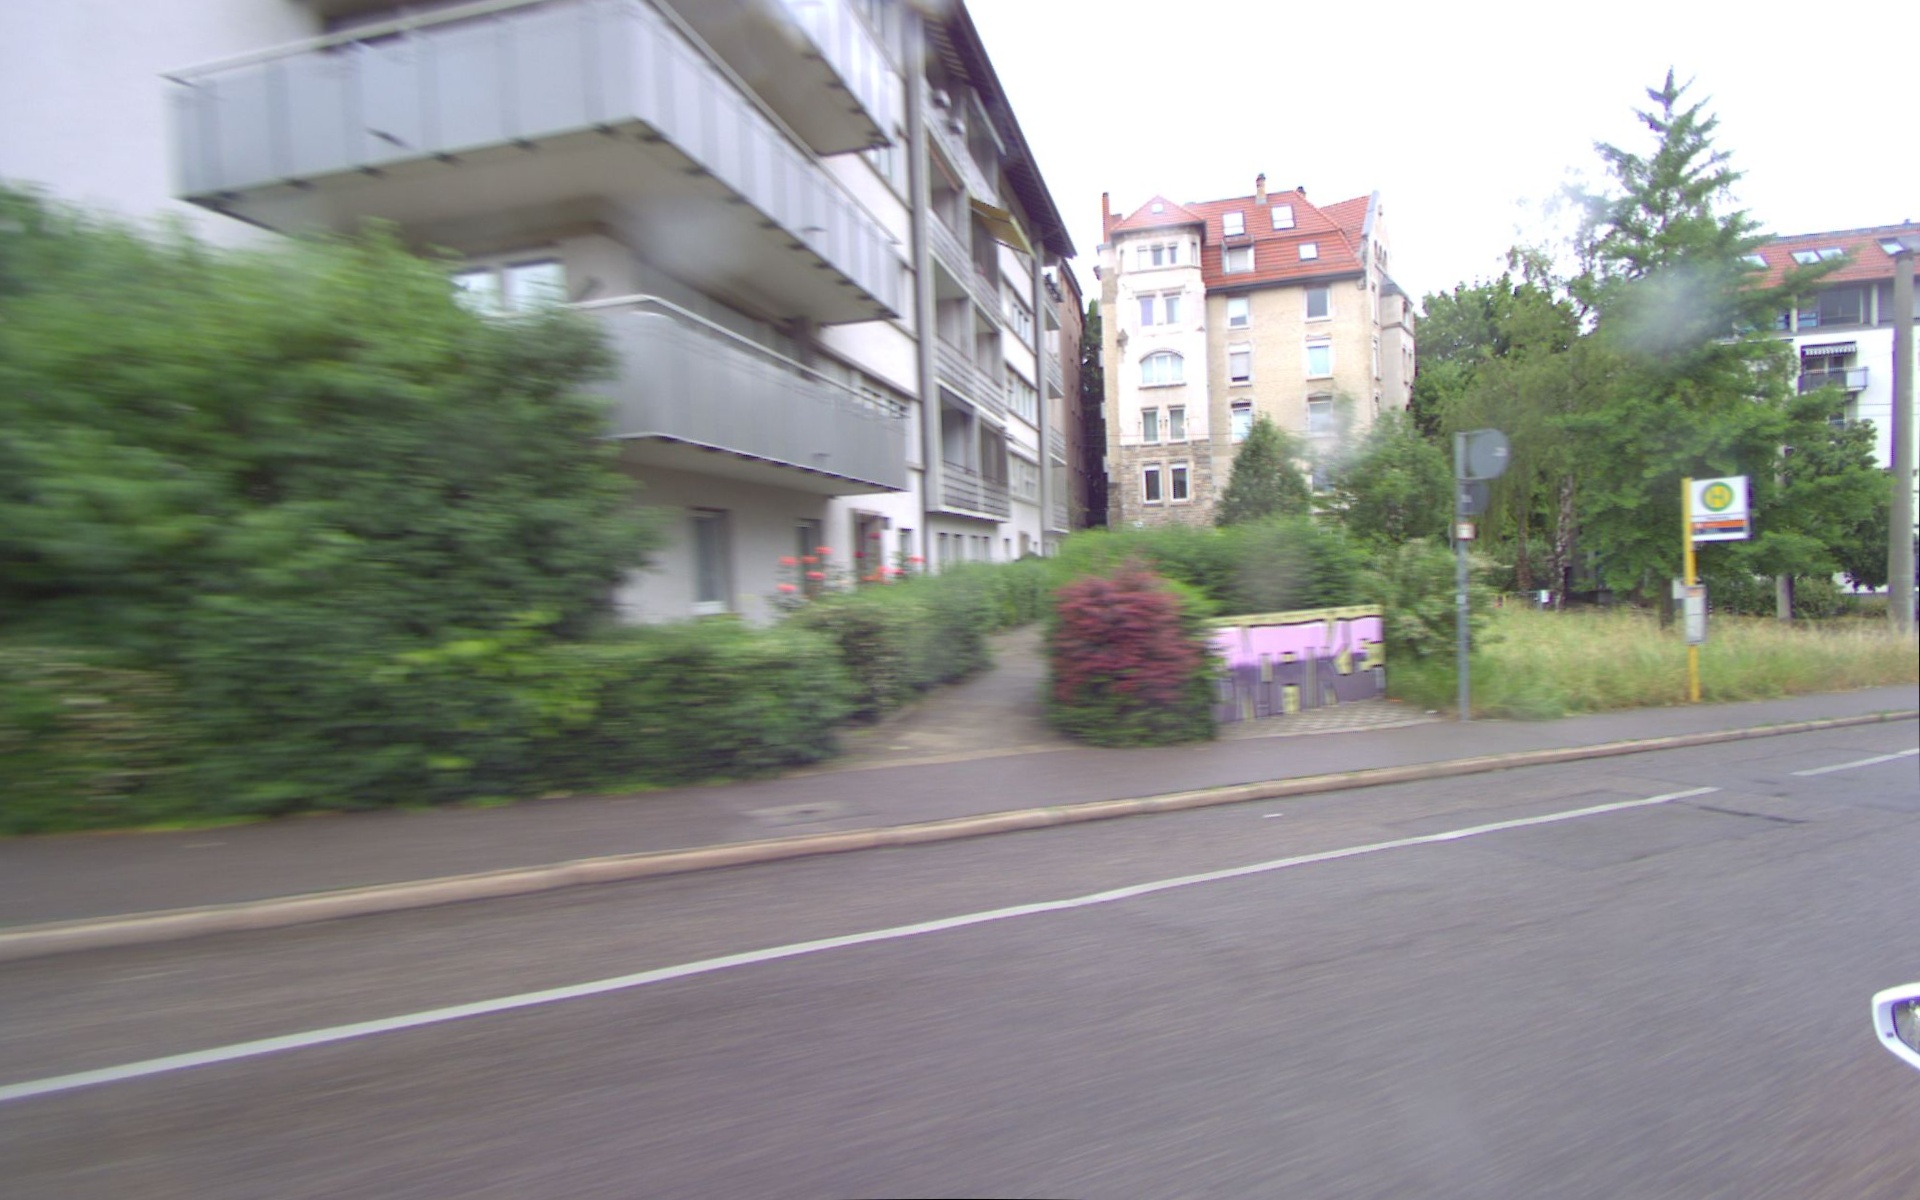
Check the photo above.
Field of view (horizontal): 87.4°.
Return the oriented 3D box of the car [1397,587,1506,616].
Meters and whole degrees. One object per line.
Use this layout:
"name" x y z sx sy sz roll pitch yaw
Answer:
"car" 22.694 0.038 46.525 4.269 1.240 1.754 1 1 18
